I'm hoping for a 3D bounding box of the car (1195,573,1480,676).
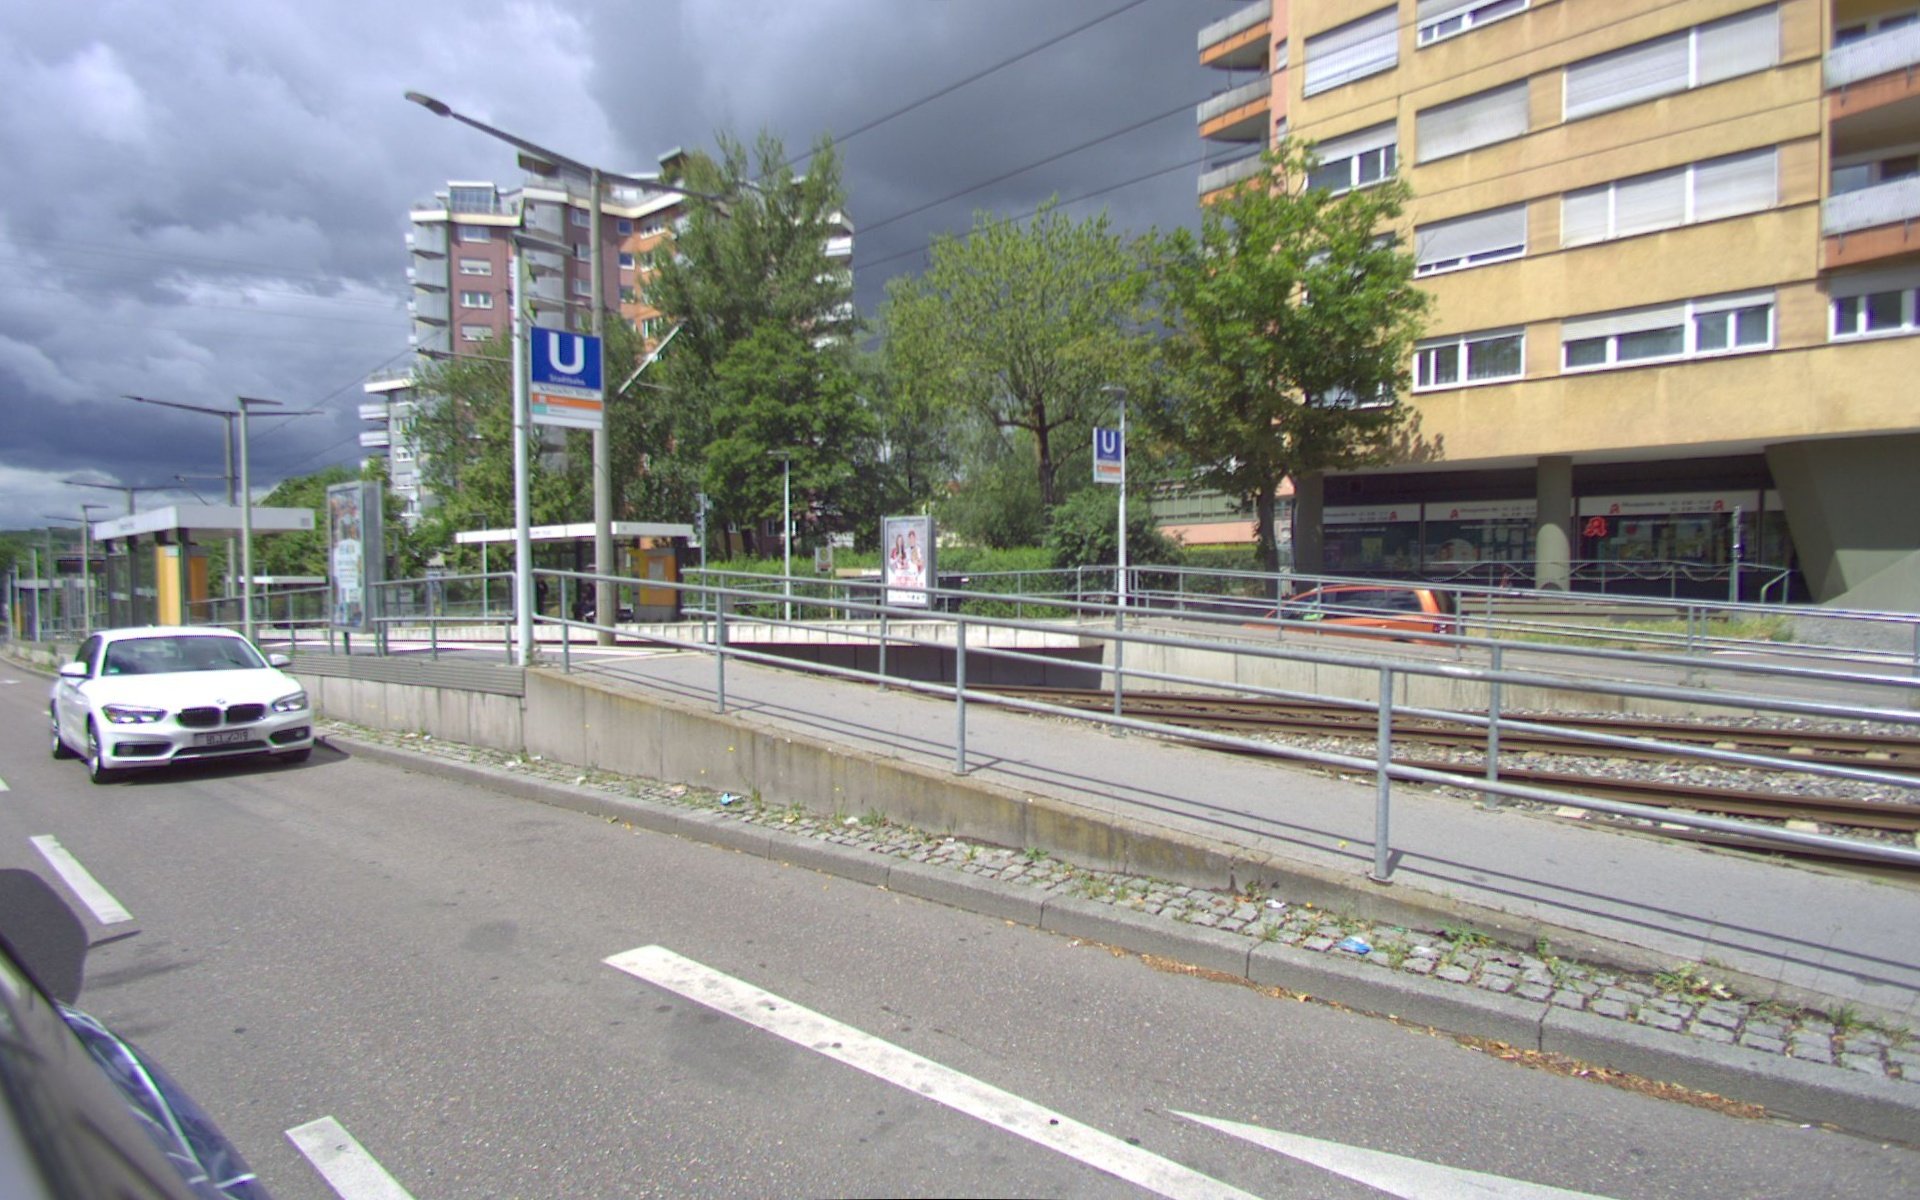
[{"bbox_3d":[6.766,0.435,18.403,4.457,1.647,1.973,-1,-2,40],"label":"car"}]

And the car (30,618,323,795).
[{"bbox_3d":[-8.322,0.948,10.623,3.998,1.472,1.710,-1,0,42],"label":"car"}]

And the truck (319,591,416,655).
[{"bbox_3d":[-32.103,1.262,54.675,7.260,3.247,2.389,-2,-1,42],"label":"truck"}]
